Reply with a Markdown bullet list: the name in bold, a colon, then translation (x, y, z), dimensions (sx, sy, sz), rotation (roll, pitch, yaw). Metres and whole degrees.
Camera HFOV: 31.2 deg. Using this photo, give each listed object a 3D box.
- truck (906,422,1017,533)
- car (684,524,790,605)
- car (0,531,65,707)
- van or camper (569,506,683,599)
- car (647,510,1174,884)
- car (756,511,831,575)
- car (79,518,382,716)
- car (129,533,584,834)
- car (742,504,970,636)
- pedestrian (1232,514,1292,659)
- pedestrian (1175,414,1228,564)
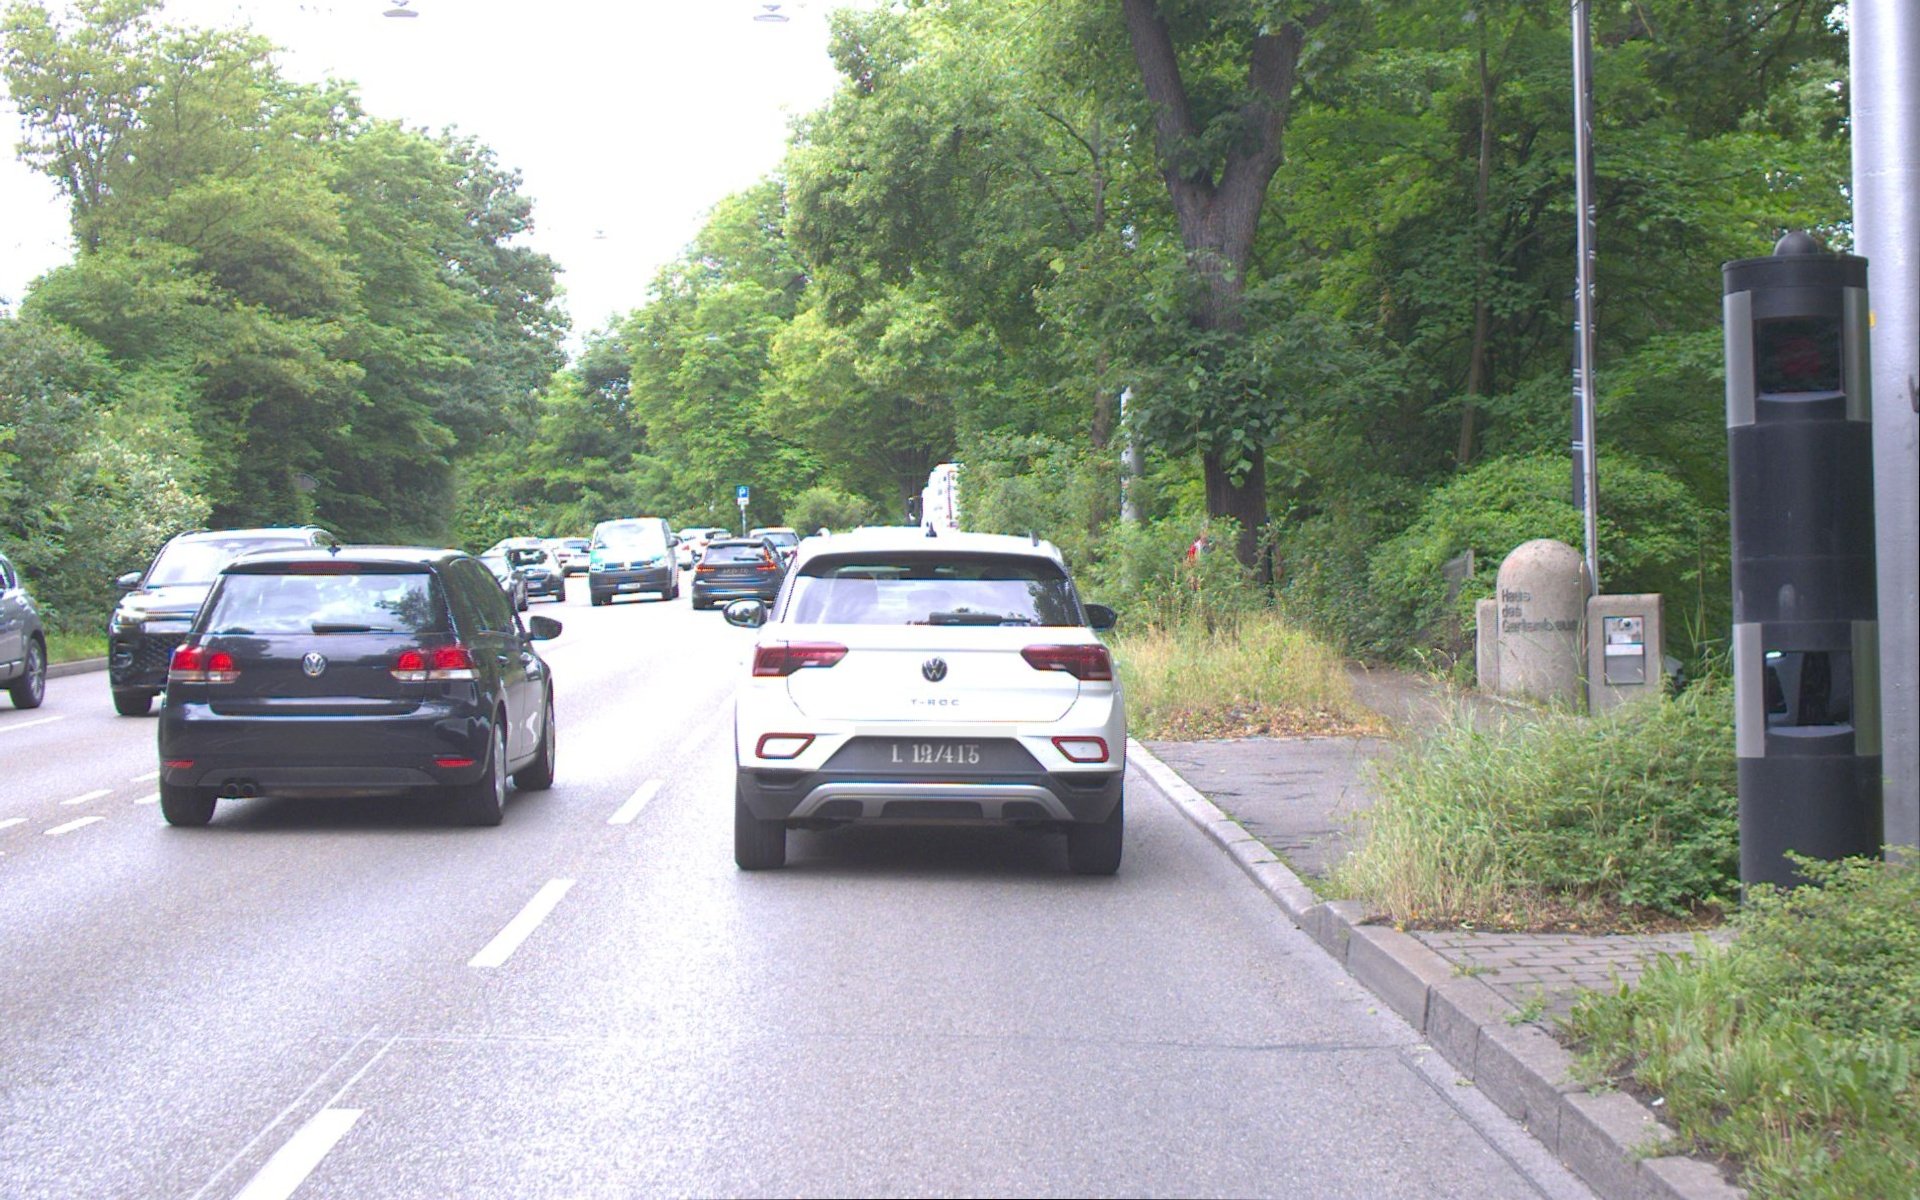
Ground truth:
- **truck**: translation (-0.015, -3.602, 102.795), dimensions (2.481, 3.171, 7.230), rotation (1, 1, -6)
- **car**: translation (-4.552, -0.741, 70.643), dimensions (1.993, 1.586, 4.000), rotation (1, 1, -1)
- **car**: translation (-9.674, 0.201, 31.602), dimensions (1.791, 1.606, 4.190), rotation (-2, 1, -1)
- **van or camper**: translation (-7.924, -1.120, 81.166), dimensions (1.993, 2.007, 5.370), rotation (-4, 1, -12)
- **car**: translation (-0.383, 0.385, 16.750), dimensions (2.000, 1.590, 4.001), rotation (1, 1, -9)
- **car**: translation (-4.313, -1.495, 89.723), dimensions (1.821, 1.617, 4.000), rotation (1, 1, -1)
- **car**: translation (-6.688, 0.120, 32.014), dimensions (1.810, 1.656, 4.830), rotation (-1, 1, -1)
- **car**: translation (-3.201, 0.379, 18.999), dimensions (1.949, 1.461, 4.001), rotation (1, 1, -2)
- **car**: translation (-1.520, -0.470, 48.688), dimensions (1.851, 1.697, 4.001), rotation (-4, 3, -23)
- **pedestrian**: translation (3.566, -0.165, 40.627), dimensions (0.608, 1.692, 0.549), rotation (1, 1, -4)
- **pedestrian**: translation (2.847, -1.307, 40.601), dimensions (0.519, 1.747, 0.525), rotation (1, 1, -4)
